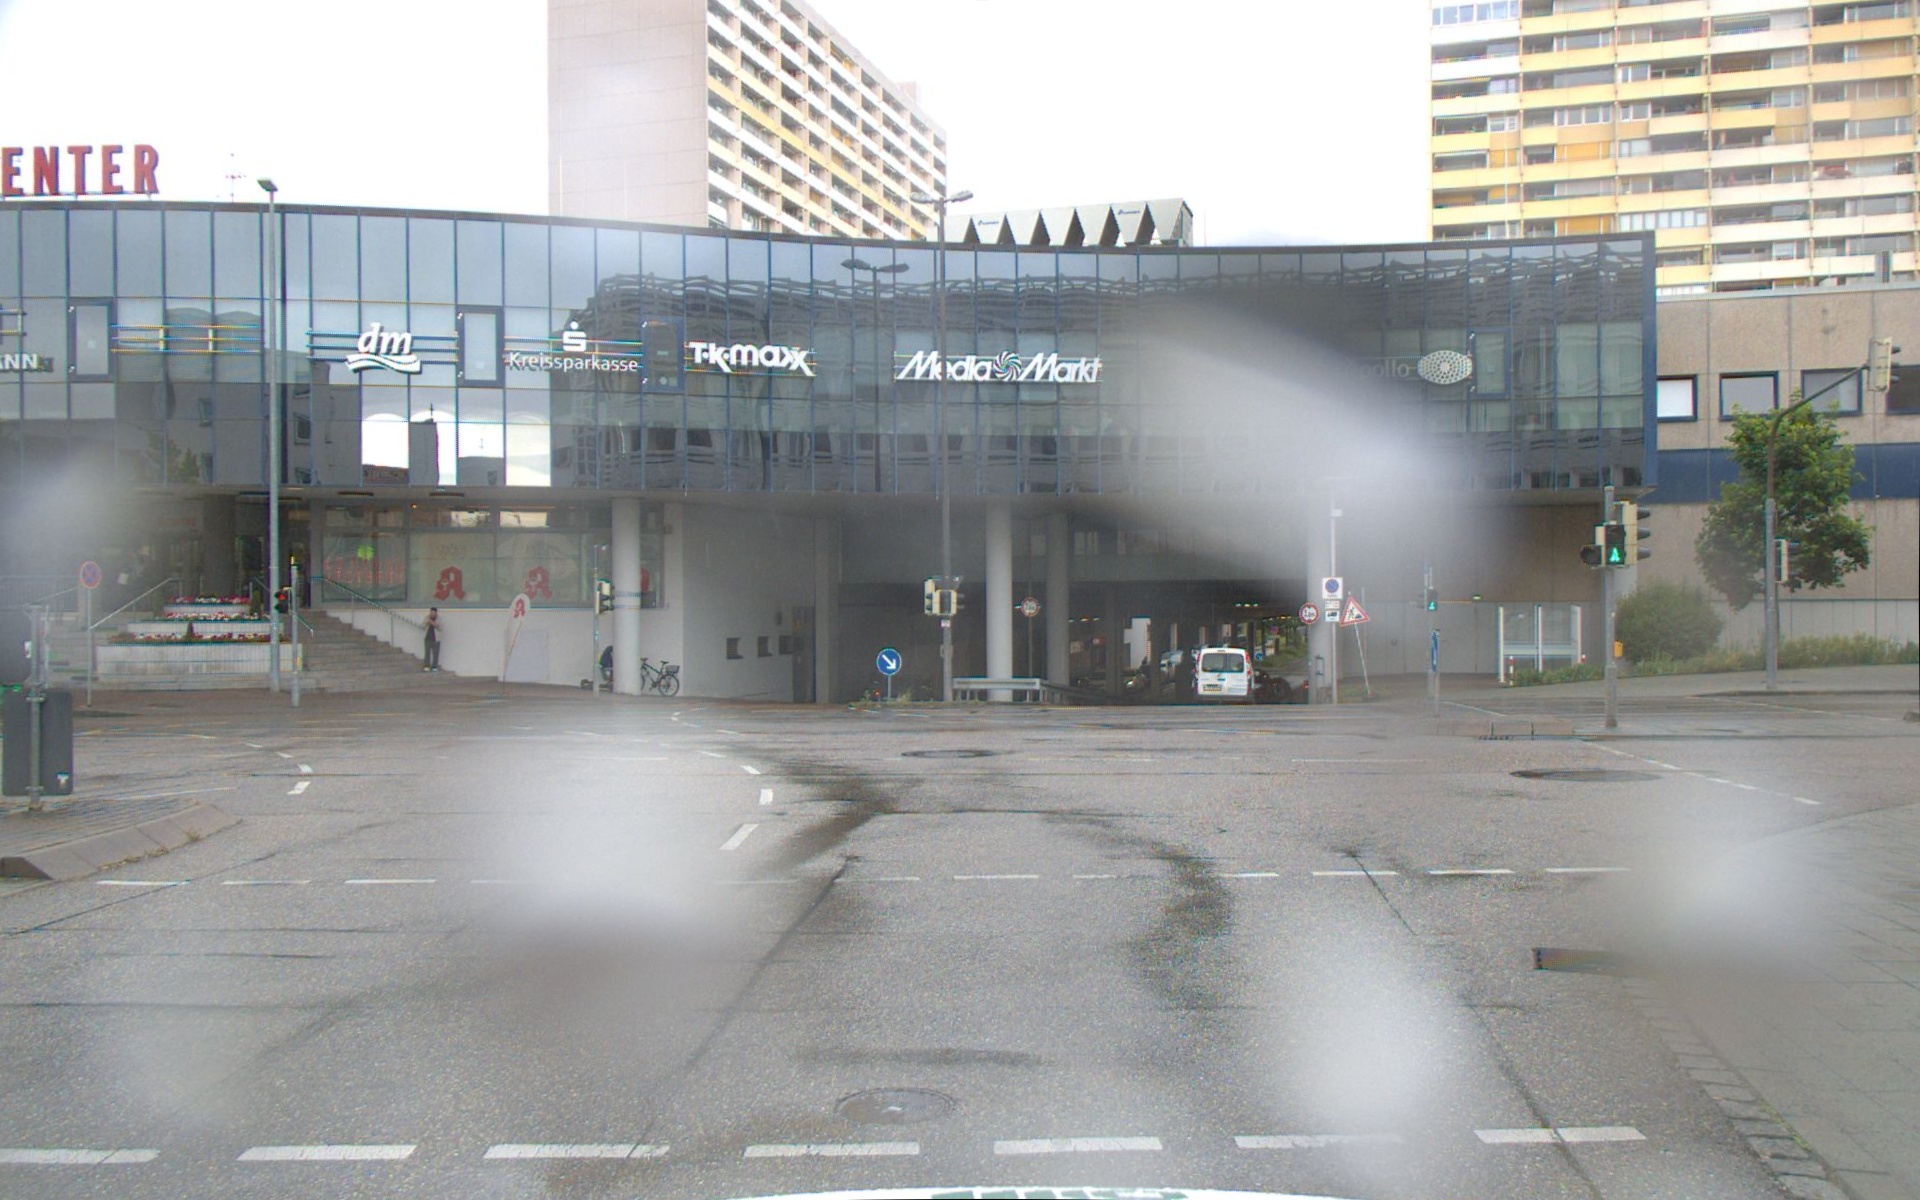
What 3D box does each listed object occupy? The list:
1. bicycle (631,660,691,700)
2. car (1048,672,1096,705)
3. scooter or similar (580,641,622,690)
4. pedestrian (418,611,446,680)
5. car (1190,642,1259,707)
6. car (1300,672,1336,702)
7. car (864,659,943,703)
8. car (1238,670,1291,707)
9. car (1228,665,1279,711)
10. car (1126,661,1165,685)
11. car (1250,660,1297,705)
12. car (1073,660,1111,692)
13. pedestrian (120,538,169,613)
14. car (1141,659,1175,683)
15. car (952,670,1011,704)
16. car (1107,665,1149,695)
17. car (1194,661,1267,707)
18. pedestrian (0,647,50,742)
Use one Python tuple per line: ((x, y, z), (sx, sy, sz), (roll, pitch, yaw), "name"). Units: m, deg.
((-8.732, 2.346, 48.331), (1.566, 1.036, 0.447), (7, -4, -32), "bicycle")
((6.195, 4.872, 91.305), (1.874, 1.616, 3.941), (-1, -1, 15), "car")
((-10.430, 1.902, 48.020), (1.147, 1.397, 0.487), (1, -1, -16), "scooter or similar")
((-14.945, 1.287, 46.828), (0.643, 1.942, 0.593), (1, -1, -9), "pedestrian")
((7.823, 2.180, 48.717), (1.884, 1.829, 4.299), (-1, -2, 10), "car")
((19.742, 4.778, 91.126), (1.847, 1.517, 3.844), (1, -1, 13), "car")
((-2.100, 3.083, 62.445), (1.852, 1.496, 4.029), (-1, -5, 16), "car")
((12.185, 3.556, 66.026), (1.741, 1.425, 4.002), (-1, -4, 15), "car")
((10.874, 3.252, 61.114), (1.598, 1.640, 4.265), (-2, -3, 13), "car")
((12.309, 4.825, 109.626), (1.951, 1.489, 4.003), (-1, -1, 15), "car")
((13.469, 3.507, 70.908), (1.753, 1.802, 4.003), (-1, -1, 14), "car")
((7.686, 4.413, 96.137), (1.797, 1.758, 4.003), (-1, -1, 11), "car")
((-22.784, -0.675, 46.201), (0.812, 2.049, 0.953), (1, -1, 3), "pedestrian")
((13.758, 4.919, 114.729), (1.951, 1.489, 4.003), (-1, -1, 12), "car")
((0.999, 3.922, 74.382), (1.733, 1.490, 3.878), (-1, -3, 15), "car")
((10.353, 4.917, 101.958), (1.951, 1.693, 4.003), (1, -1, 15), "car")
((9.266, 2.911, 56.533), (1.721, 1.490, 3.943), (-2, -4, 20), "car")
((-16.997, 1.685, 29.624), (0.929, 1.652, 0.809), (-1, -1, 22), "pedestrian")
